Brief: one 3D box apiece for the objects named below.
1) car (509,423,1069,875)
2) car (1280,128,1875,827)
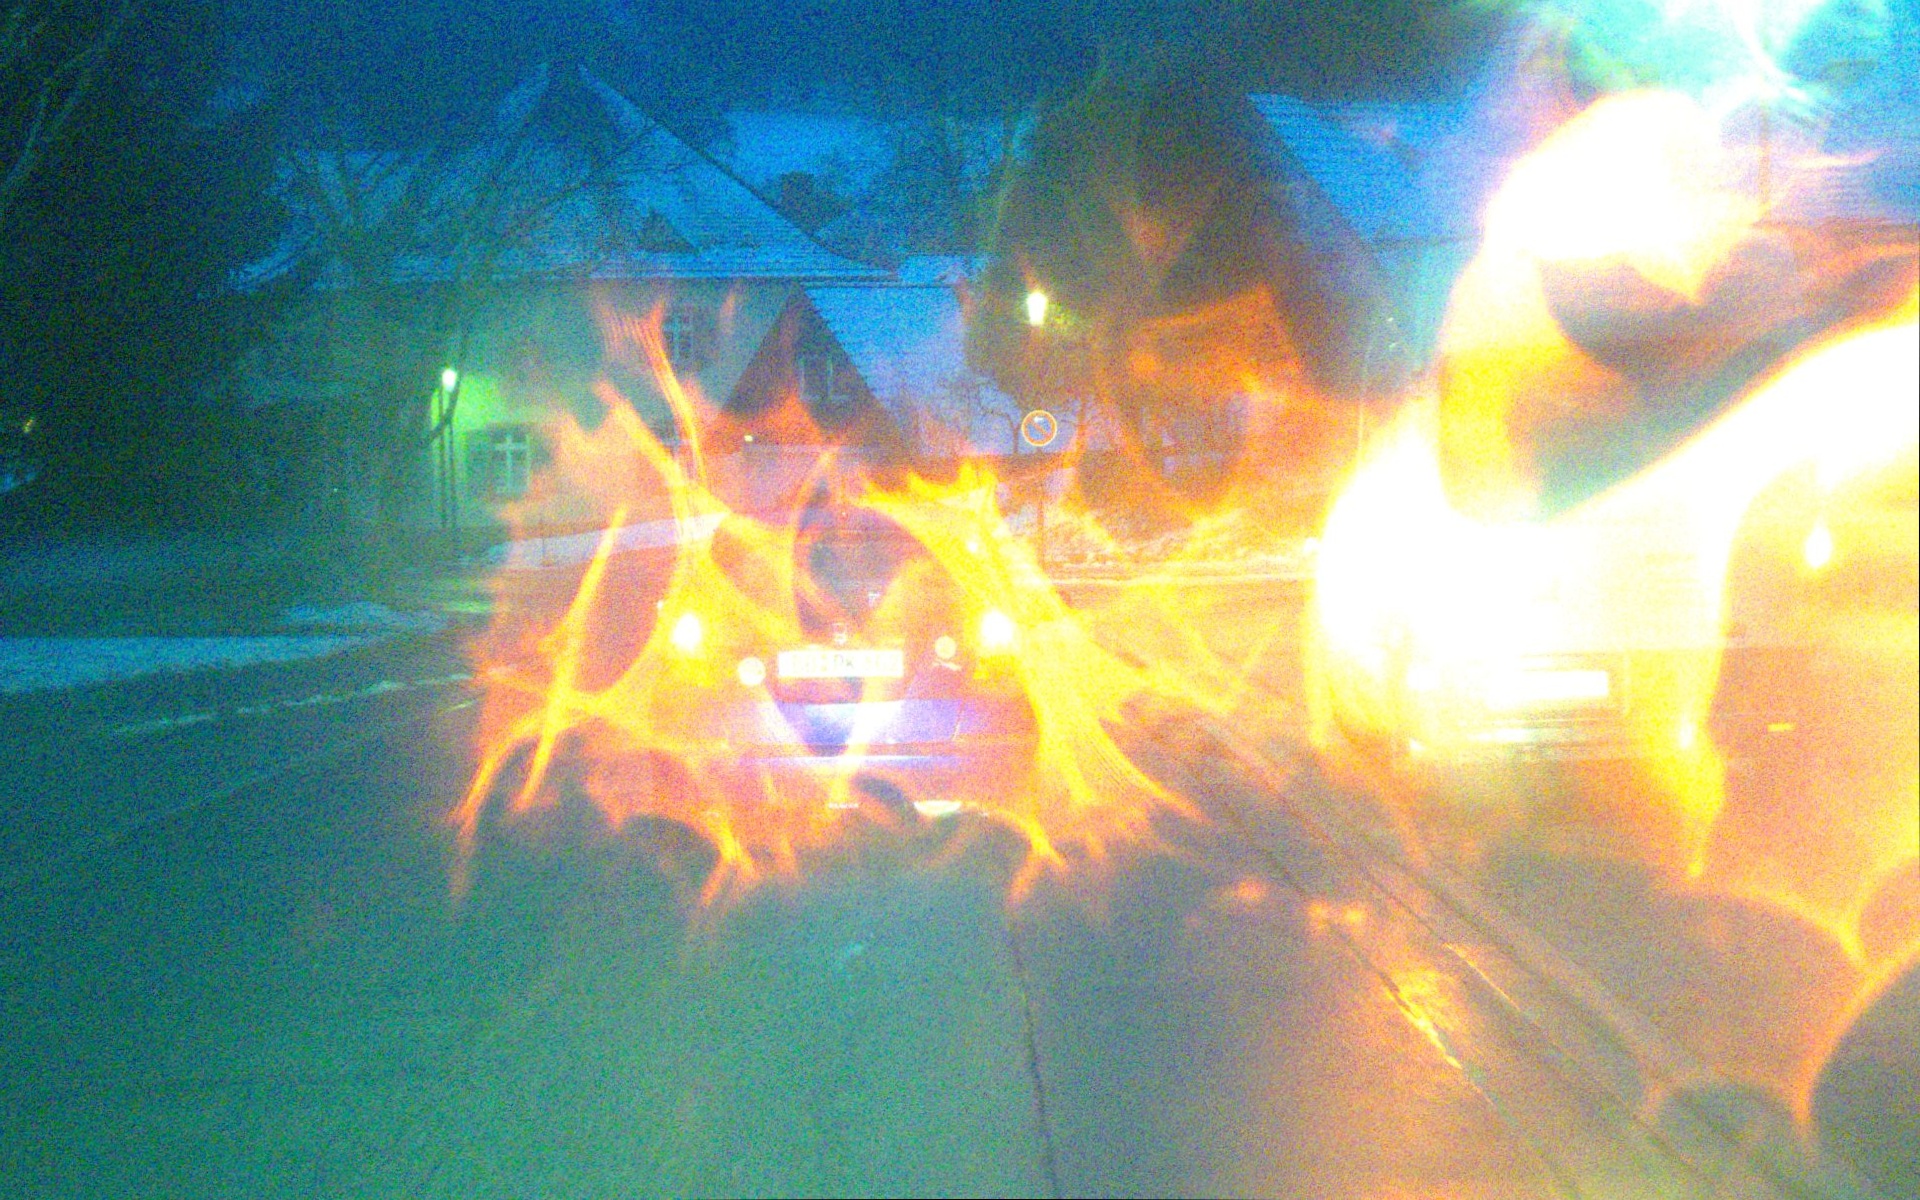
[{"bbox_3d":[-0.722,0.129,16.538,2.274,1.834,5.007,0,2,-1],"label":"car"},{"bbox_3d":[2.975,-0.672,17.849,2.435,3.008,5.325,-2,3,5],"label":"car"}]
